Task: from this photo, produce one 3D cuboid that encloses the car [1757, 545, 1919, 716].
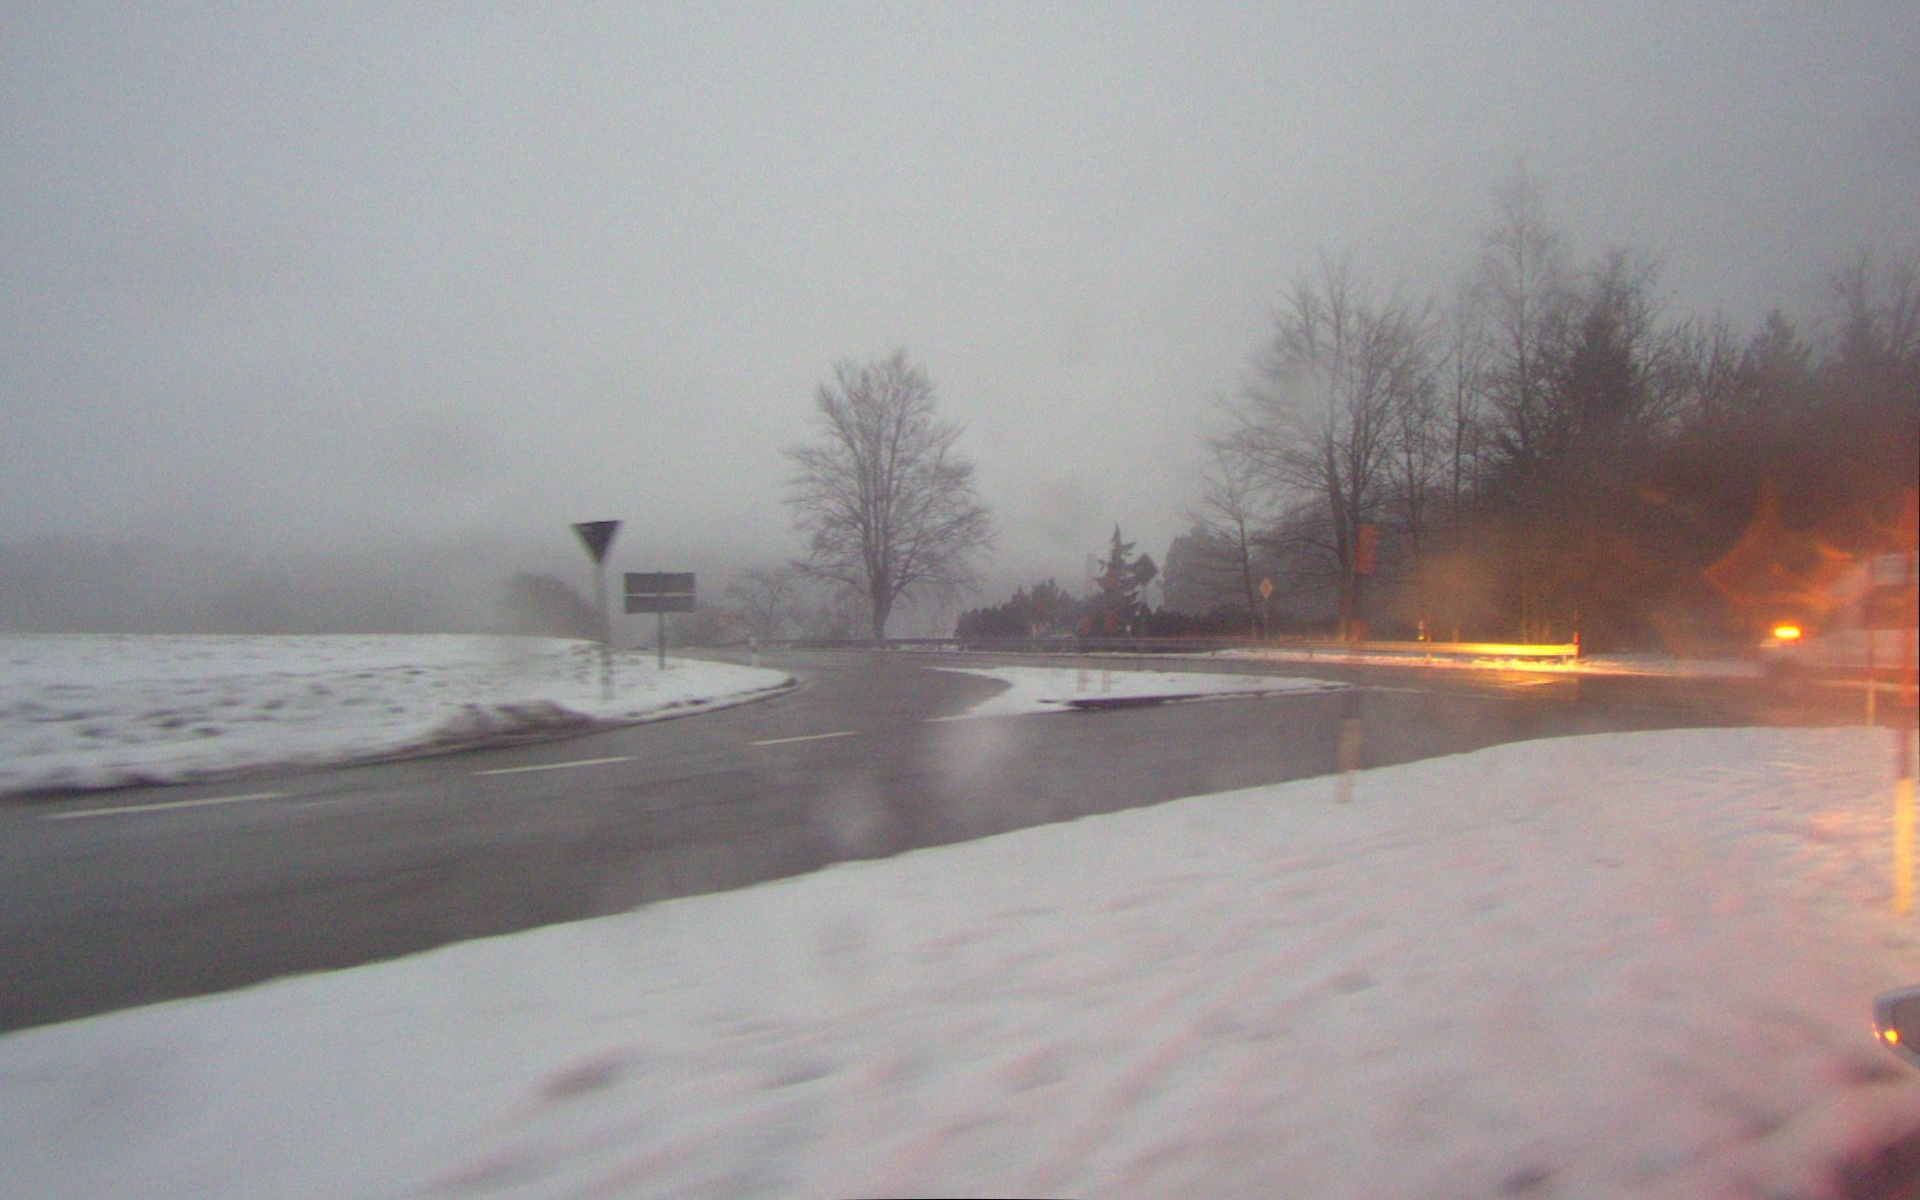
[{"bbox_3d":[16.368,0.524,16.588,2.110,2.731,5.530,2,0,2],"label":"car"}]
